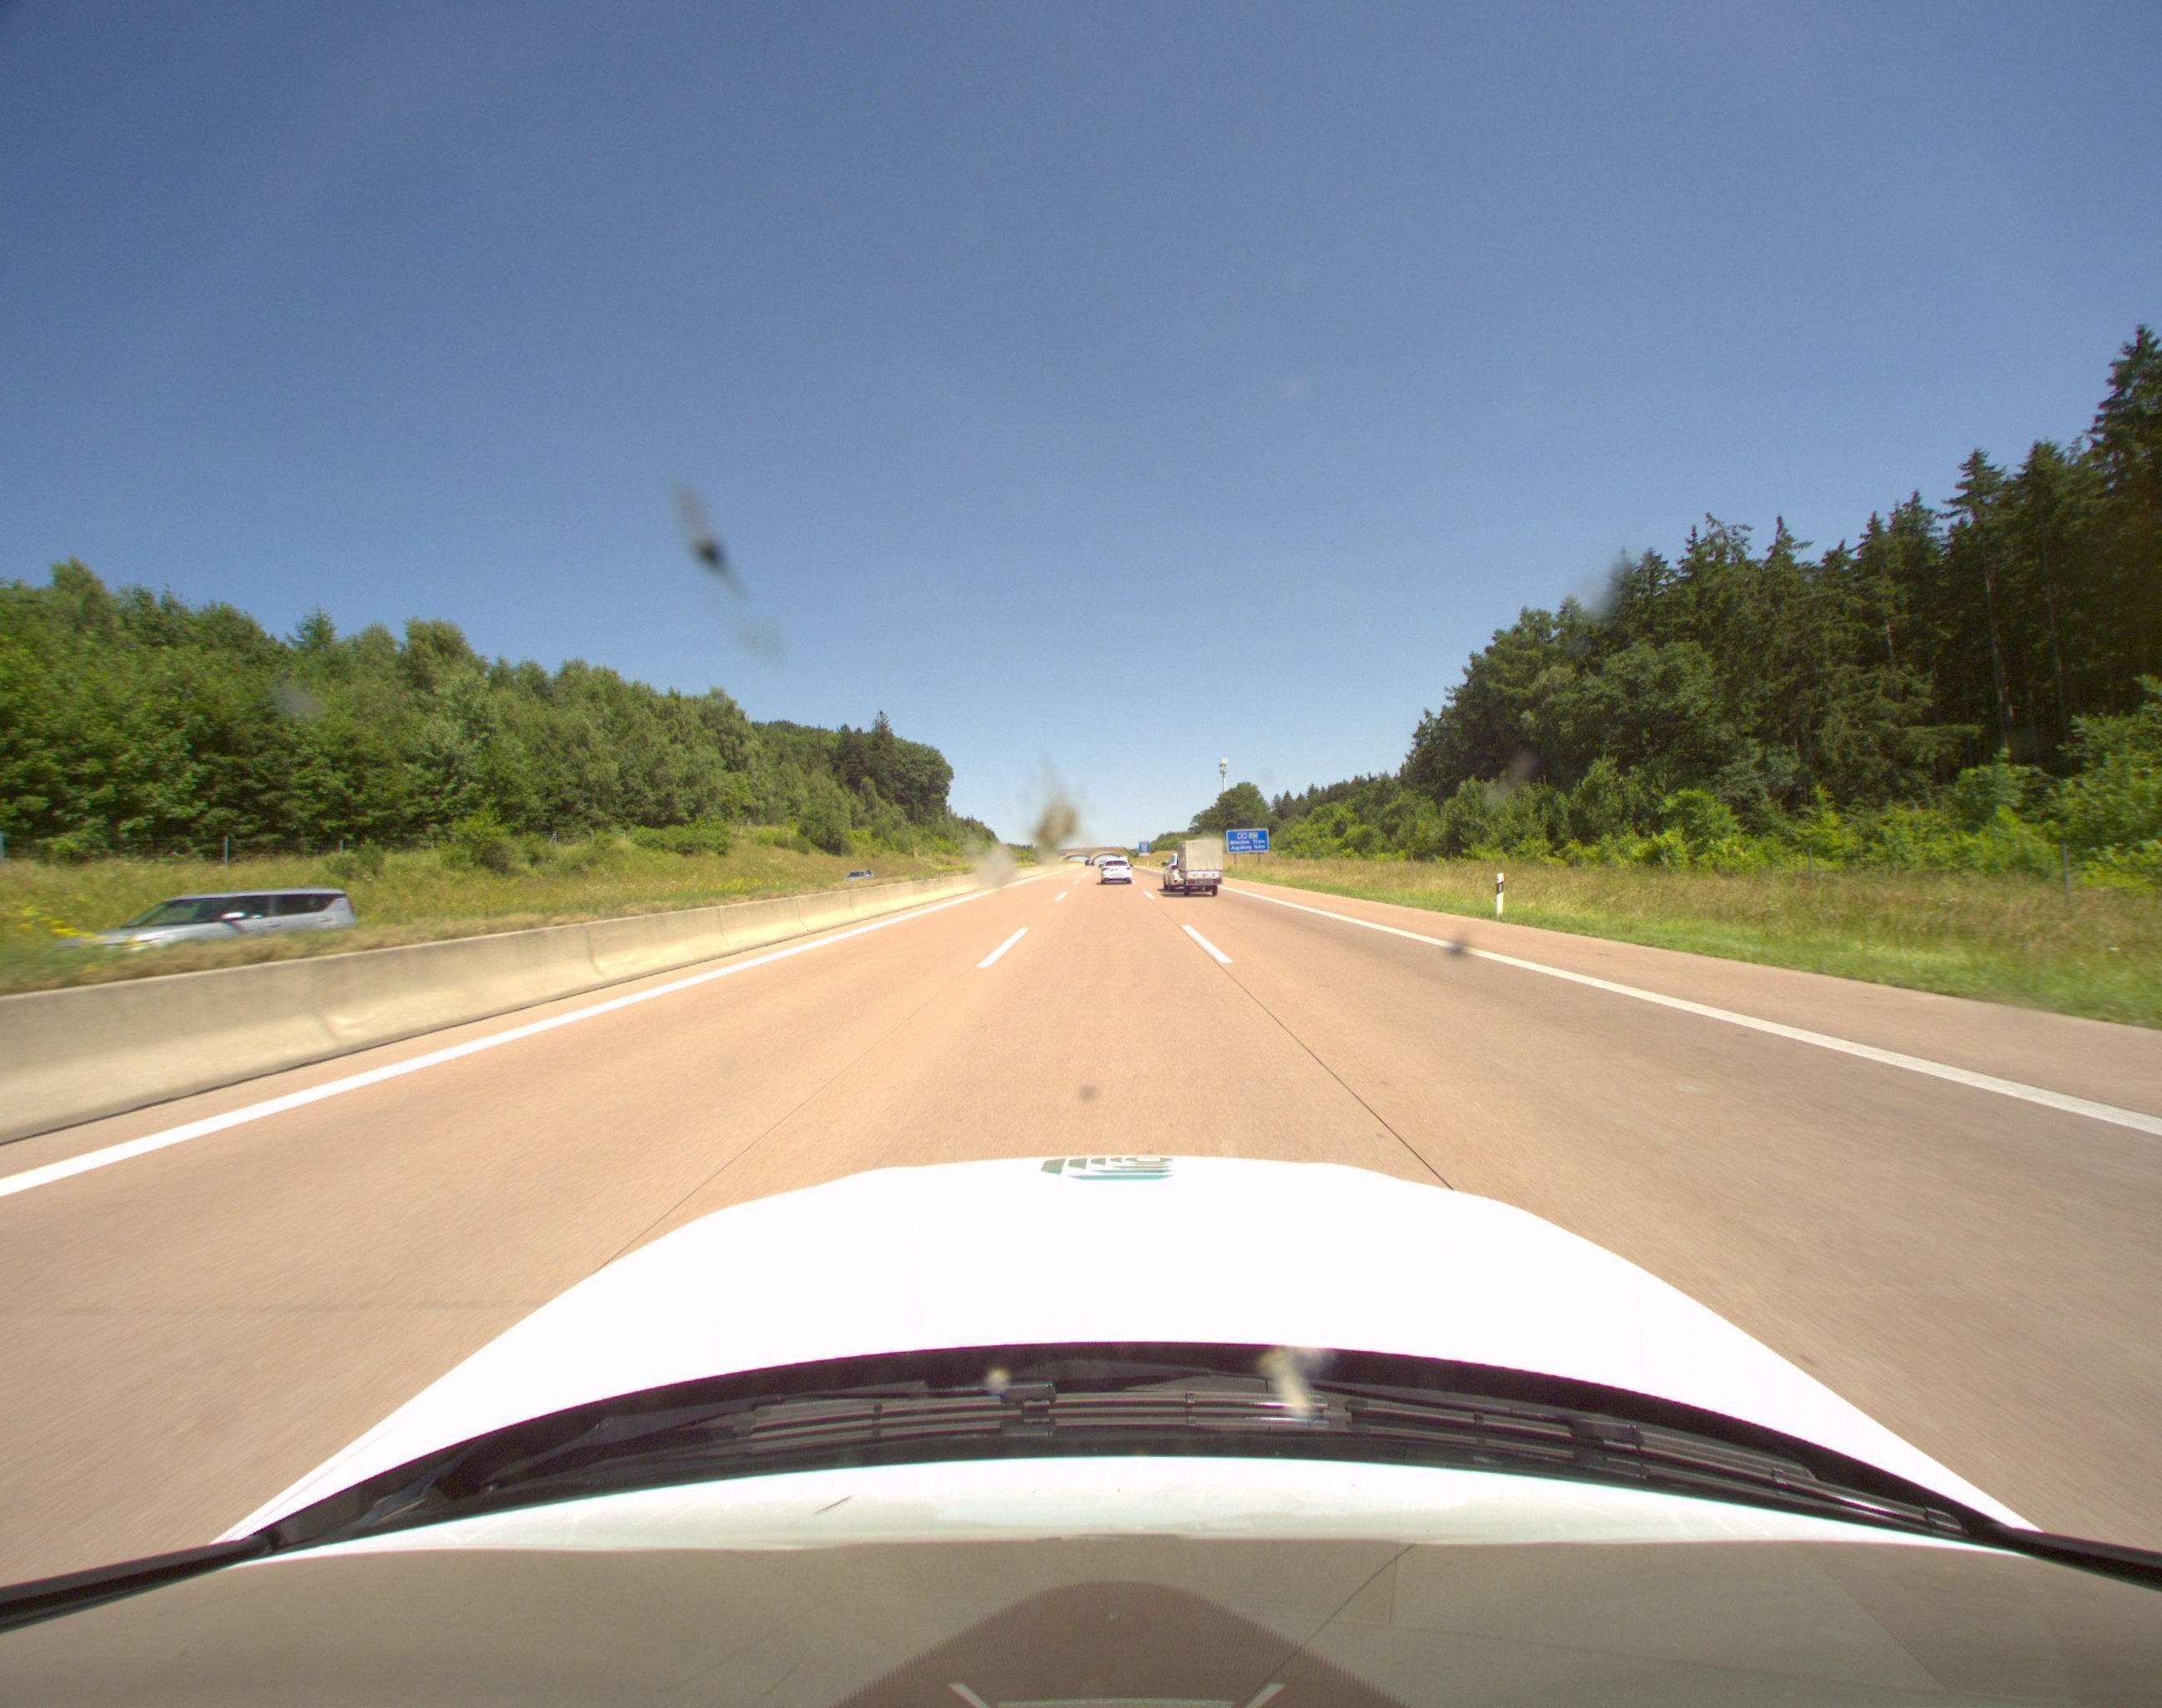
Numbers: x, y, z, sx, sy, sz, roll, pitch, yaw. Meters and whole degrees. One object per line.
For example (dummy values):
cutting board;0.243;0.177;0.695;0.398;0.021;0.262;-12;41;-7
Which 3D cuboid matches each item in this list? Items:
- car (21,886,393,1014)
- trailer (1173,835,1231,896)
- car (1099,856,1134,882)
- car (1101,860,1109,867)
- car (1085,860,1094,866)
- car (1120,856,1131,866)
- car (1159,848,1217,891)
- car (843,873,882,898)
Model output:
car;-15.336;1.566;14.769;1.884;1.738;4.463;-1;0;0
trailer;4.567;0.435;31.295;1.652;2.164;4.016;-1;-1;1
car;1.985;0.840;46.673;1.884;1.398;4.001;0;0;1
car;5.489;2.167;186.820;1.883;1.463;4.002;-1;0;2
car;2.050;2.171;200.599;1.882;1.463;4.004;-1;0;4
car;8.878;1.382;162.607;2.101;2.054;4.004;-1;0;4
car;4.625;0.669;35.849;1.884;1.728;5.185;-1;-1;0
car;-16.957;2.398;63.399;1.885;1.738;4.463;-1;0;0
